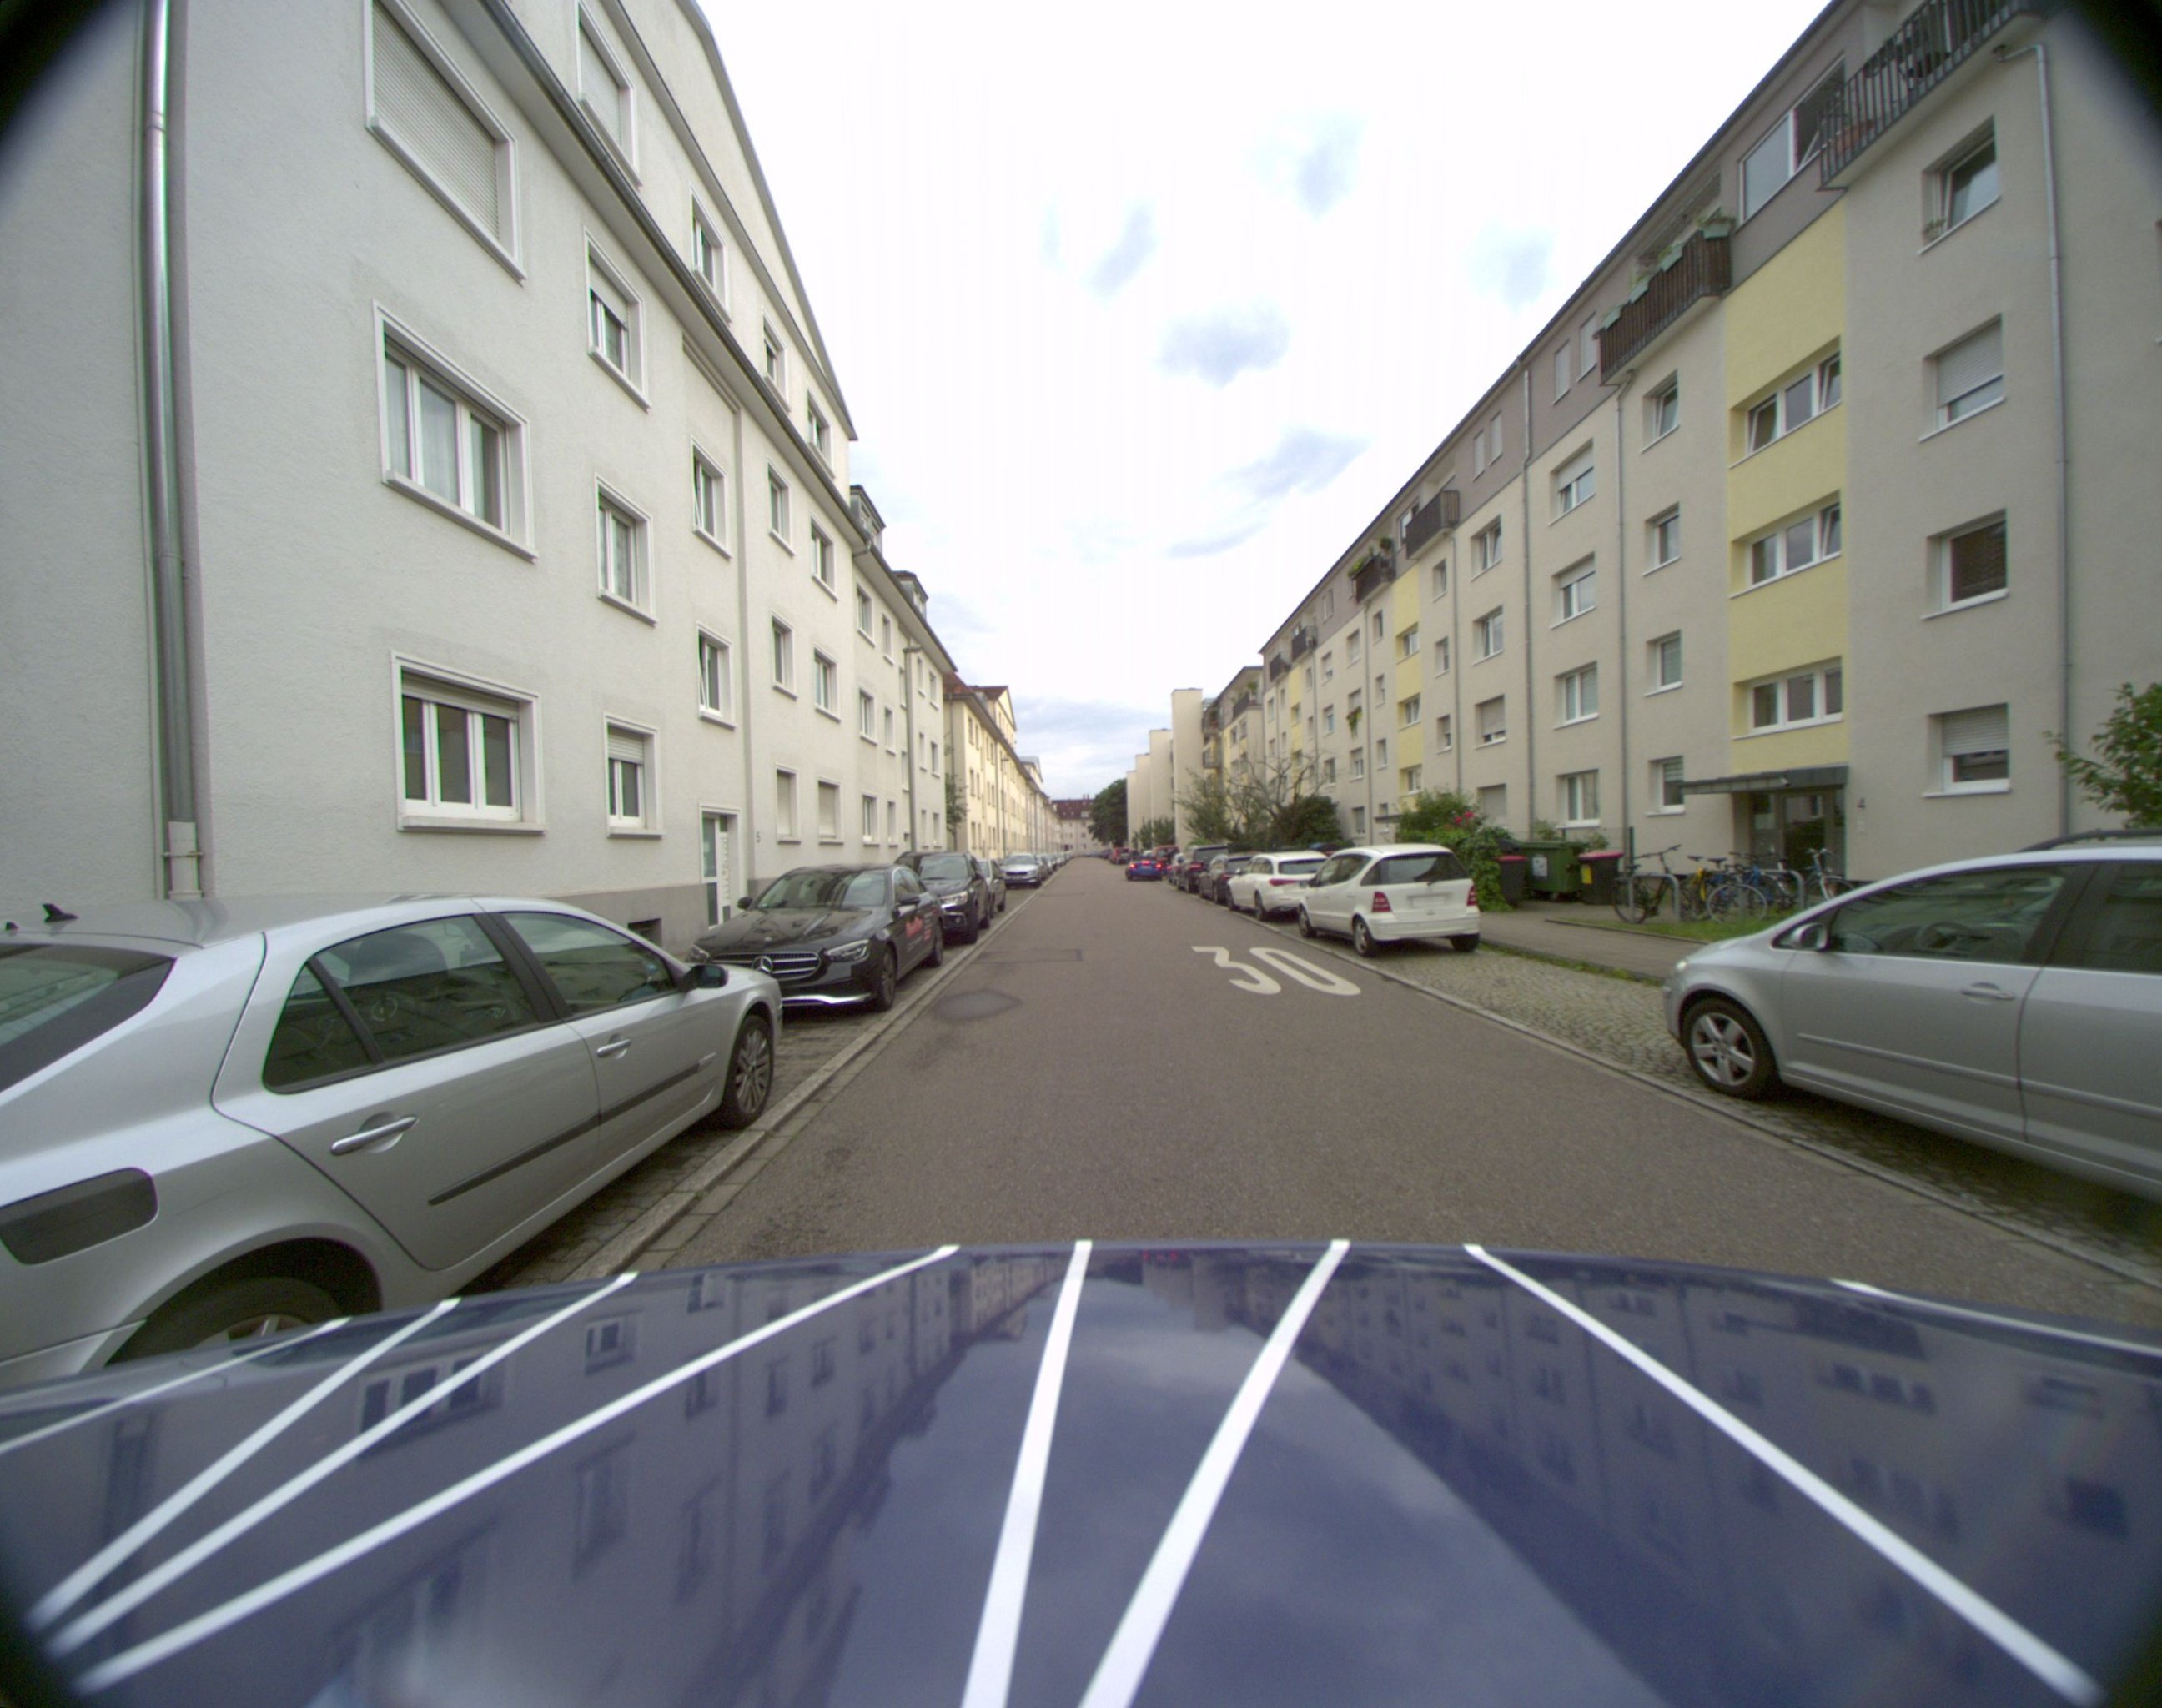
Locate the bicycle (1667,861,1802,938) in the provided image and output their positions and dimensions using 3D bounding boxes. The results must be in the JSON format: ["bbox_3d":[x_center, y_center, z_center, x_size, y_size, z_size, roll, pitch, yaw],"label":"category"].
[{"bbox_3d":[9.673,0.633,11.331,0.479,1.018,1.754,-2,0,0],"label":"bicycle"}]

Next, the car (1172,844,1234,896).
[{"bbox_3d":[4.572,0.574,29.044,1.575,1.769,4.451,-2,0,-1],"label":"car"}]

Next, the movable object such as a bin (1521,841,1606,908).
[{"bbox_3d":[10.499,0.418,16.567,1.059,1.367,1.188,-2,2,-5],"label":"movable object such as a bin"}]

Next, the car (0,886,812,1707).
[{"bbox_3d":[-2.698,0.974,3.007,1.737,1.454,4.430,-1,0,-1],"label":"car"}]

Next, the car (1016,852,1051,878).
[{"bbox_3d":[-2.673,0.588,43.843,1.737,1.418,4.217,-1,0,0],"label":"car"}]

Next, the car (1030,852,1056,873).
[{"bbox_3d":[-2.708,0.571,55.086,1.737,1.402,4.217,-1,0,-1],"label":"car"}]

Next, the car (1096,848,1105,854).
[{"bbox_3d":[4.689,-0.719,180.957,1.745,1.534,3.636,-2,0,-6],"label":"car"}]

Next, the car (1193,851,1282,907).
[{"bbox_3d":[4.616,0.677,23.016,1.729,1.445,4.482,-2,1,0],"label":"car"}]

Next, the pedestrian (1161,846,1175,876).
[{"bbox_3d":[4.769,0.380,41.547,0.603,1.657,0.622,-2,1,-2],"label":"pedestrian"}]

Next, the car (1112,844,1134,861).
[{"bbox_3d":[5.068,-0.143,92.792,2.188,2.020,4.422,-2,0,-2],"label":"car"}]

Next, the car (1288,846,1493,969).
[{"bbox_3d":[4.735,0.722,12.230,1.689,1.629,3.727,-2,0,-1],"label":"car"}]

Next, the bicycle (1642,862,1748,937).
[{"bbox_3d":[9.177,0.652,11.416,0.357,1.018,1.497,-2,0,0],"label":"bicycle"}]

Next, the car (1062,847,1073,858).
[{"bbox_3d":[-2.098,-0.185,120.786,1.737,1.670,3.591,-1,0,-1],"label":"car"}]

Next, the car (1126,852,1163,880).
[{"bbox_3d":[3.398,0.634,41.068,1.679,1.307,3.907,-2,1,1],"label":"car"}]

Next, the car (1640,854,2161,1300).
[{"bbox_3d":[4.714,0.812,3.253,1.658,1.542,3.915,-3,0,-1],"label":"car"}]

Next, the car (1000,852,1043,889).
[{"bbox_3d":[-2.679,0.715,34.931,1.737,1.538,3.676,-1,1,-1],"label":"car"}]

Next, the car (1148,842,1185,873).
[{"bbox_3d":[5.170,0.226,46.404,1.707,1.795,3.541,-2,0,-2],"label":"car"}]

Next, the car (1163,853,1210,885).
[{"bbox_3d":[4.919,0.663,35.855,1.575,1.389,3.541,-2,0,-2],"label":"car"}]

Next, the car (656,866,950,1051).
[{"bbox_3d":[-2.731,0.924,8.622,1.786,1.454,4.322,-1,0,-1],"label":"car"}]

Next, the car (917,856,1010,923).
[{"bbox_3d":[-2.846,0.809,19.152,1.737,1.478,3.756,-1,0,0],"label":"car"}]

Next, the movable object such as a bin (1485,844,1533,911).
[{"bbox_3d":[9.043,0.490,16.057,0.659,1.360,0.587,-2,2,-4],"label":"movable object such as a bin"}]

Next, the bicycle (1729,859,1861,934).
[{"bbox_3d":[10.560,0.598,11.304,0.421,1.018,1.559,-2,0,-3],"label":"bicycle"}]

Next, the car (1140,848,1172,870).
[{"bbox_3d":[5.159,0.342,52.594,1.707,1.436,3.541,-2,0,-2],"label":"car"}]

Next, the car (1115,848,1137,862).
[{"bbox_3d":[5.107,0.133,86.559,2.013,1.436,4.196,-2,0,-2],"label":"car"}]

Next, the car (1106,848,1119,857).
[{"bbox_3d":[5.429,-0.228,131.235,1.745,1.534,3.636,-2,0,-6],"label":"car"}]

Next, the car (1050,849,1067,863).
[{"bbox_3d":[-2.421,0.158,81.969,1.737,1.443,4.217,-1,0,-1],"label":"car"}]

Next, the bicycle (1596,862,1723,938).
[{"bbox_3d":[8.697,0.647,11.520,0.489,1.018,1.878,-2,0,0],"label":"bicycle"}]

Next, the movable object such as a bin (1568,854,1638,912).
[{"bbox_3d":[10.637,0.571,15.503,0.871,1.103,0.787,-2,2,-4],"label":"movable object such as a bin"}]

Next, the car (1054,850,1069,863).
[{"bbox_3d":[-2.350,0.269,91.763,1.737,1.443,4.217,-1,0,-1],"label":"car"}]

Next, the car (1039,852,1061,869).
[{"bbox_3d":[-2.537,0.530,62.795,1.737,1.363,4.217,-1,0,-1],"label":"car"}]

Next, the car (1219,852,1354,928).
[{"bbox_3d":[4.618,0.732,17.834,1.723,1.501,4.686,-2,0,-2],"label":"car"}]

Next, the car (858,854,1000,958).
[{"bbox_3d":[-2.619,0.825,14.092,1.853,1.589,4.159,-1,0,-1],"label":"car"}]
